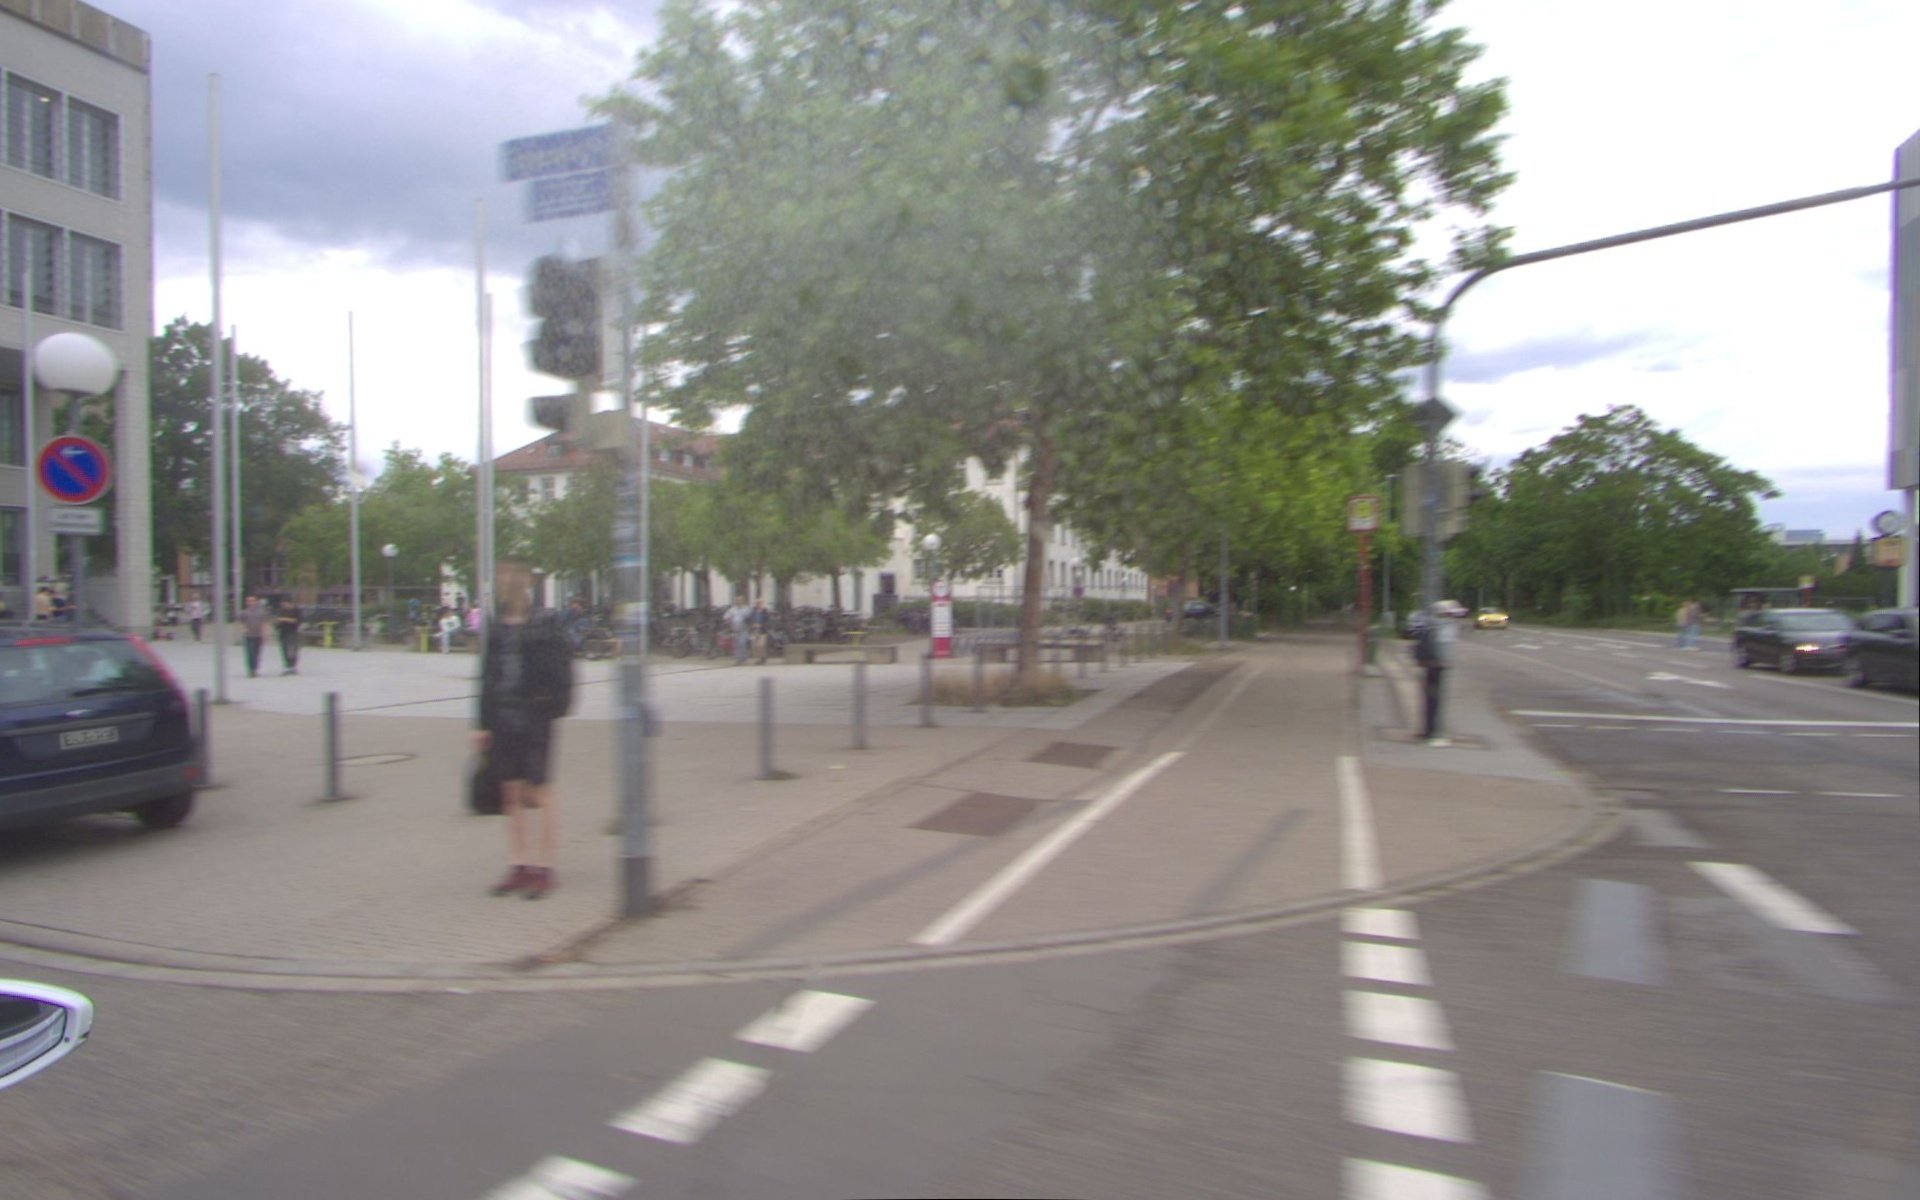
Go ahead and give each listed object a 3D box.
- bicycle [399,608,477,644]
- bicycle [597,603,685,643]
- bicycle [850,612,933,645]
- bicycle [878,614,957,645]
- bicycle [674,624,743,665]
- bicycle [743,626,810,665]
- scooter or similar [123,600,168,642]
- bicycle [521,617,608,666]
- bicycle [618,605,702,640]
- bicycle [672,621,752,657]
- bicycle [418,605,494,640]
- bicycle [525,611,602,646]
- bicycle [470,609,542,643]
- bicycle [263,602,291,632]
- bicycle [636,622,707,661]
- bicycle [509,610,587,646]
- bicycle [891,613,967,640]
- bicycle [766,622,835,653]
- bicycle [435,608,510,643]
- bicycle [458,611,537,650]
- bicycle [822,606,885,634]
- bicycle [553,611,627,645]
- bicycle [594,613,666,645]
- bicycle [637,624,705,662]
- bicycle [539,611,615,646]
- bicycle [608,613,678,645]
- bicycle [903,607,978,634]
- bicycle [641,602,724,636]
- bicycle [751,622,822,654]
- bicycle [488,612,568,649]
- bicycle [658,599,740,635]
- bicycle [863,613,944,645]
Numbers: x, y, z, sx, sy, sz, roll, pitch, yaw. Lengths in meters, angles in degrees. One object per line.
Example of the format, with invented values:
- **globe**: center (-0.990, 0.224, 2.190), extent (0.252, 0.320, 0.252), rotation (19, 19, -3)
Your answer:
- **bicycle**: center (-19.474, 0.966, 37.322), extent (3.054, 1.185, 0.746), rotation (3, 0, 23)
- **bicycle**: center (-10.813, 0.760, 33.897), extent (3.054, 1.185, 0.746), rotation (3, 0, 23)
- **bicycle**: center (-2.878, 1.197, 41.710), extent (3.339, 1.185, 1.052), rotation (3, 0, 27)
- **bicycle**: center (-1.877, 1.291, 44.128), extent (3.339, 1.185, 1.052), rotation (3, 0, 27)
- **bicycle**: center (-6.981, 1.219, 27.814), extent (1.900, 1.063, 0.456), rotation (1, 1, 17)
- **bicycle**: center (-5.352, 1.320, 29.182), extent (1.900, 1.063, 0.456), rotation (1, 1, 17)
- **scooter or similar**: center (-27.900, 0.703, 34.330), extent (0.398, 1.387, 1.491), rotation (3, 0, -6)
- **bicycle**: center (-10.767, 1.114, 27.251), extent (2.370, 1.185, 0.457), rotation (3, 0, 17)
- **bicycle**: center (-10.504, 0.784, 35.024), extent (3.055, 1.185, 0.746), rotation (0, 0, 23)
- **bicycle**: center (-9.479, 1.487, 38.217), extent (3.054, 1.185, 0.746), rotation (3, 0, 23)
- **bicycle**: center (-19.169, 0.847, 38.051), extent (3.055, 1.185, 0.746), rotation (3, 0, 23)
- **bicycle**: center (-15.243, 1.079, 38.483), extent (3.054, 1.185, 0.746), rotation (3, 0, 23)
- **bicycle**: center (-18.436, 1.042, 40.601), extent (3.054, 1.185, 0.746), rotation (3, 0, 23)
- **bicycle**: center (-26.170, 0.651, 38.378), extent (0.865, 1.107, 1.789), rotation (1, 0, -34)
- **bicycle**: center (-8.206, 1.164, 28.476), extent (1.898, 1.063, 0.457), rotation (1, 1, 7)
- **bicycle**: center (-15.557, 1.050, 37.769), extent (3.054, 1.185, 0.746), rotation (3, 0, 23)
- **bicycle**: center (-1.402, 1.183, 45.126), extent (3.340, 1.185, 1.052), rotation (-1, -1, 27)
- **bicycle**: center (-7.091, 1.673, 44.419), extent (3.054, 1.185, 0.746), rotation (3, 0, 23)
- **bicycle**: center (-18.902, 0.987, 38.787), extent (3.054, 1.185, 0.746), rotation (3, 0, 23)
- **bicycle**: center (-16.435, 1.068, 35.559), extent (3.054, 1.185, 0.620), rotation (3, 0, 23)
- **bicycle**: center (-5.244, 0.992, 49.298), extent (3.054, 1.185, 0.746), rotation (3, 0, 23)
- **bicycle**: center (-14.790, 1.128, 39.971), extent (3.054, 1.185, 0.746), rotation (3, 0, 23)
- **bicycle**: center (-13.940, 1.211, 42.290), extent (3.054, 1.185, 0.746), rotation (3, 0, 22)
- **bicycle**: center (-8.486, 1.263, 29.385), extent (1.898, 1.063, 0.457), rotation (1, 1, 7)
- **bicycle**: center (-15.011, 1.104, 39.217), extent (3.055, 1.185, 0.746), rotation (3, 0, 23)
- **bicycle**: center (-13.640, 1.239, 43.008), extent (3.054, 1.185, 0.746), rotation (3, 0, 22)
- **bicycle**: center (-0.897, 0.951, 46.137), extent (3.340, 1.185, 1.052), rotation (0, 0, 27)
- **bicycle**: center (-10.015, 0.662, 36.109), extent (3.055, 1.185, 0.746), rotation (0, 0, 23)
- **bicycle**: center (-7.519, 1.632, 43.305), extent (3.054, 1.185, 0.746), rotation (3, 0, 23)
- **bicycle**: center (-15.954, 1.116, 36.937), extent (3.054, 1.185, 0.746), rotation (3, 0, 23)
- **bicycle**: center (-9.665, 0.633, 37.078), extent (3.054, 1.185, 0.746), rotation (3, 0, 23)
- **bicycle**: center (-2.434, 1.242, 42.980), extent (3.339, 1.185, 1.052), rotation (3, 0, 27)
